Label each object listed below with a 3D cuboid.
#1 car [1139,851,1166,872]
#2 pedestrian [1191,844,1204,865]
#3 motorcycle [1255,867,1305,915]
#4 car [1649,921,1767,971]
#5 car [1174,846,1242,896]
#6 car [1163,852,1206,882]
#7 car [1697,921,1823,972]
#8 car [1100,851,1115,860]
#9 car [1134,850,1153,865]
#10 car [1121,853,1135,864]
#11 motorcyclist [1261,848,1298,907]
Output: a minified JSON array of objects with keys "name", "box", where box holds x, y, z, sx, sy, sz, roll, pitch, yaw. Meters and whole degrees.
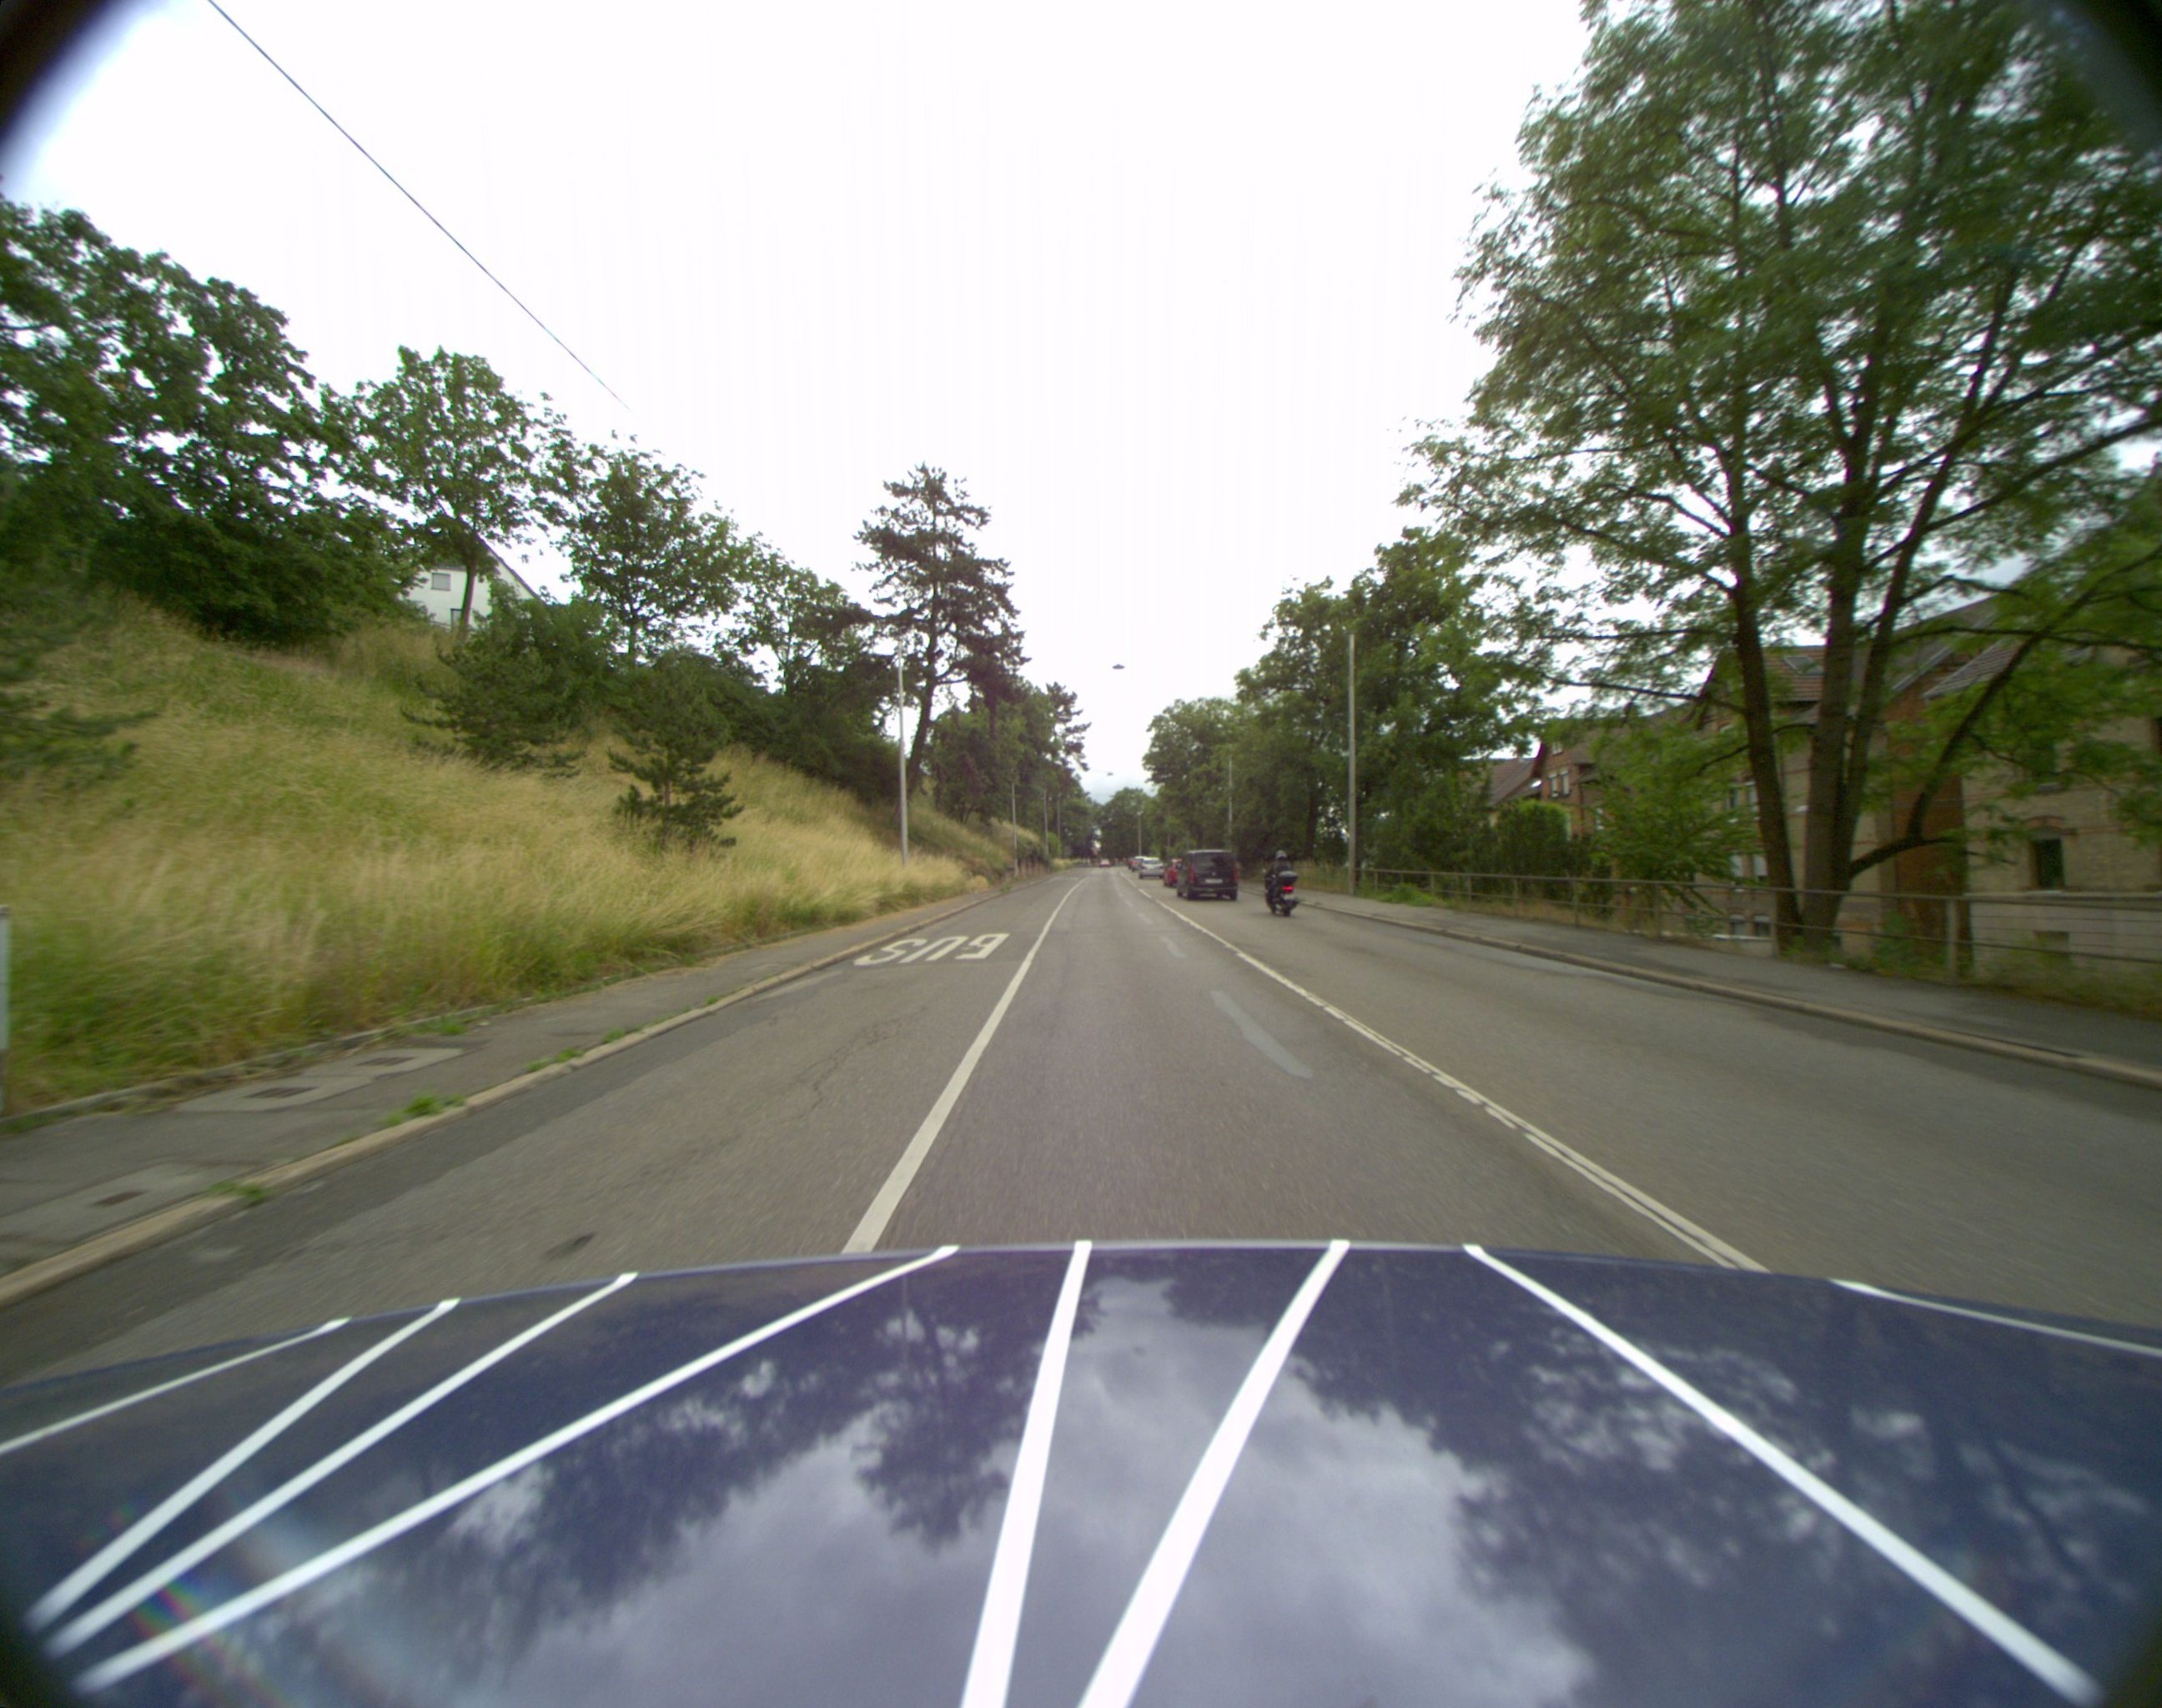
[{"name":"car","box":[5.404,0.555,57.846,1.788,1.565,4.281,0,0,1]},{"name":"pedestrian","box":[9.829,0.046,63.931,0.790,1.764,1.209,-4,0,-1]},{"name":"motorcycle","box":[5.145,0.919,19.745,0.787,1.139,2.057,0,0,1]},{"name":"car","box":[24.798,3.592,30.261,1.797,1.501,4.003,0,0,8]},{"name":"car","box":[4.635,0.570,28.348,1.788,1.736,4.428,0,0,0]},{"name":"car","box":[5.457,0.653,40.524,1.788,1.451,4.428,0,0,1]},{"name":"car","box":[26.590,3.579,29.943,1.797,1.501,4.003,0,0,8]},{"name":"car","box":[4.592,0.306,131.703,1.790,1.565,4.277,0,0,-9]},{"name":"car","box":[7.171,0.353,87.216,2.000,1.673,4.664,0,0,2]},{"name":"car","box":[6.388,0.610,104.363,1.717,1.419,4.139,0,0,1]},{"name":"motorcyclist","box":[5.146,0.597,19.741,0.787,1.507,0.668,0,1,1]}]
